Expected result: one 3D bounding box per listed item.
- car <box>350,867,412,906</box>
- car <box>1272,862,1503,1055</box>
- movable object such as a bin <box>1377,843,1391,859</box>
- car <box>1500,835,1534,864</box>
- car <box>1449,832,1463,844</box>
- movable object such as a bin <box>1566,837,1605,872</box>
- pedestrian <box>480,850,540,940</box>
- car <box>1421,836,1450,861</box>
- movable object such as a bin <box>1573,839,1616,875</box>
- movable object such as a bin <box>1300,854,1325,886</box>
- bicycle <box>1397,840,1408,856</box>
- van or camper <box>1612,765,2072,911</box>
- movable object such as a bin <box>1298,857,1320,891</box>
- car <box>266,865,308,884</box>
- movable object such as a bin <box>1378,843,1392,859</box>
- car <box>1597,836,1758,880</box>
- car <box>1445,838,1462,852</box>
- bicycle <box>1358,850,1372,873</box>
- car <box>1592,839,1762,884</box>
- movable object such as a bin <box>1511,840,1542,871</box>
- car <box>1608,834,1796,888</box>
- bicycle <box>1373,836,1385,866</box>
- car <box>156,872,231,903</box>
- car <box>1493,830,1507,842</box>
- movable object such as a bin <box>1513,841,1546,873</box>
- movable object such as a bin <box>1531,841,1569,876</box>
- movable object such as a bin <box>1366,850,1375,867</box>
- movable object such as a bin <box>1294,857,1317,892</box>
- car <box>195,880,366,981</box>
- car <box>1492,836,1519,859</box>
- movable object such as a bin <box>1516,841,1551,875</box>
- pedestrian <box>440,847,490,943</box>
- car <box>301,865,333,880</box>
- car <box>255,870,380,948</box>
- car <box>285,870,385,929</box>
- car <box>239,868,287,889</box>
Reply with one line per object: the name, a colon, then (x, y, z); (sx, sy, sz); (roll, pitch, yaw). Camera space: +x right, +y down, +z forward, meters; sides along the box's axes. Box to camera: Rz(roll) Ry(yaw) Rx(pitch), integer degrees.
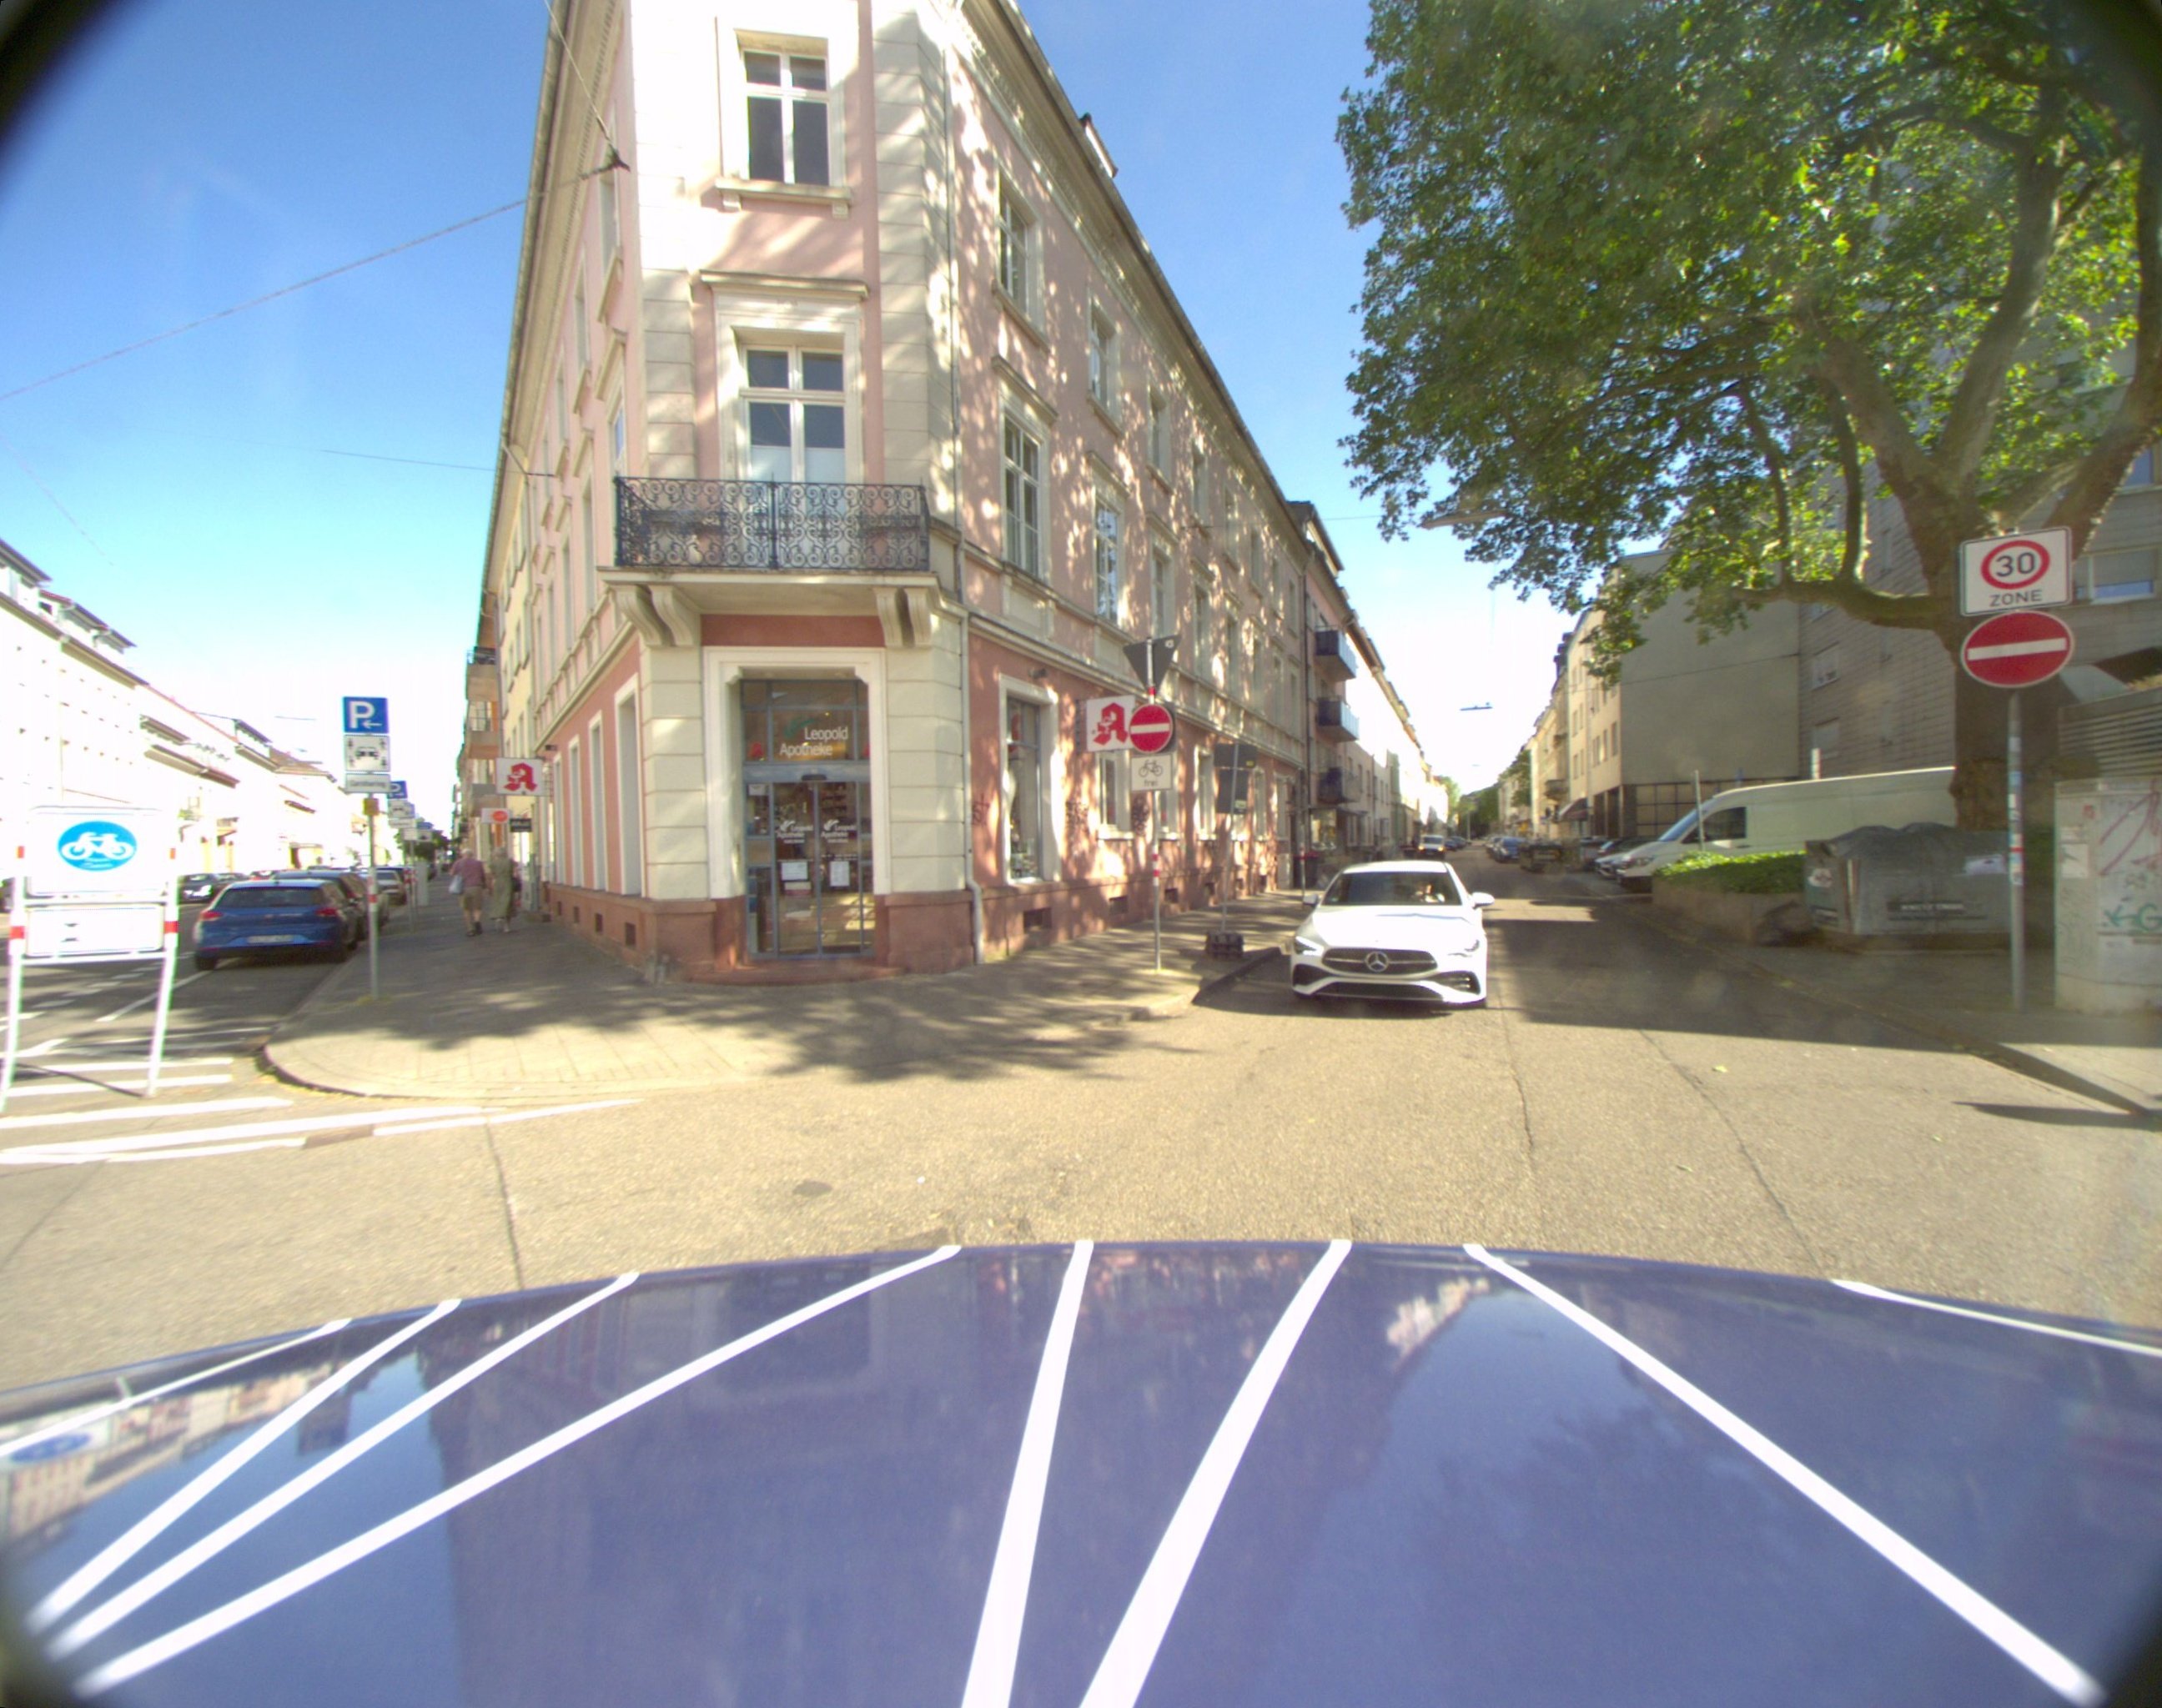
car: (-28.710, 1.305, 31.255); (1.711, 1.425, 3.628); (1, 0, -40)
car: (3.751, 0.932, 8.776); (1.859, 1.448, 4.570); (-2, 0, 28)
movable object such as a bin: (18.920, -0.189, 47.486); (0.715, 0.997, 0.547); (2, 3, 26)
car: (27.634, -0.290, 48.238); (1.762, 1.698, 4.335); (-1, 1, 29)
car: (57.066, -2.400, 115.540); (1.762, 1.698, 4.335); (-1, 1, 28)
movable object such as a bin: (22.342, 0.011, 33.686); (1.219, 1.492, 1.520); (-1, 1, 26)
pedestrian: (-11.667, 0.812, 15.562); (0.832, 1.754, 0.750); (-2, 1, -29)
car: (27.525, -0.442, 58.880); (1.762, 1.843, 4.335); (-1, 1, 29)
movable object such as a bin: (21.813, 0.118, 32.318); (1.326, 1.492, 1.197); (-1, 1, 26)
movable object such as a bin: (8.157, 0.554, 26.733); (0.716, 1.078, 0.619); (2, 3, 26)
bicycle: (23.020, -0.418, 54.424); (0.489, 1.090, 1.936); (-1, 1, 28)
van or camper: (16.360, -0.205, 17.109); (6.912, 2.559, 2.003); (-5, -1, 28)
movable object such as a bin: (7.453, 0.637, 24.815); (0.569, 1.053, 0.613); (2, 3, 26)
car: (-59.122, 1.498, 56.605); (1.710, 1.292, 3.629); (-2, 1, -40)
movable object such as a bin: (19.200, -0.186, 48.009); (0.715, 0.997, 0.547); (2, 3, 26)
car: (22.147, 0.154, 28.422); (4.408, 1.524, 1.701); (-1, 1, 22)
car: (45.626, -1.119, 92.956); (1.762, 1.698, 4.335); (-1, 1, 28)
bicycle: (14.609, 0.365, 39.037); (0.402, 1.144, 2.028); (-1, 1, 28)
car: (20.707, 0.253, 26.630); (4.408, 1.454, 1.602); (-1, 1, 22)
movable object such as a bin: (22.476, 0.049, 38.334); (1.219, 1.492, 1.562); (-1, 1, 26)
car: (20.024, 0.234, 24.739); (4.408, 1.607, 1.701); (-1, 1, 22)
bicycle: (18.050, -0.198, 45.971); (0.402, 1.726, 2.110); (-1, 1, 28)
car: (-42.229, 1.558, 36.234); (1.710, 1.292, 3.629); (-2, 1, -40)
car: (65.677, -2.838, 119.084); (1.762, 1.698, 4.335); (-1, 1, 28)
movable object such as a bin: (21.773, 0.143, 36.911); (1.219, 1.492, 1.562); (-1, 1, 26)
movable object such as a bin: (20.711, 0.187, 33.583); (1.239, 1.492, 1.880); (-1, 1, 26)
movable object such as a bin: (15.699, 0.238, 41.249); (0.415, 0.935, 0.302); (2, 3, 26)
movable object such as a bin: (7.176, 0.645, 24.240); (0.569, 1.078, 0.655); (2, 3, 26)
car: (-14.264, 1.252, 13.748); (1.711, 1.425, 3.628); (1, 0, -40)
car: (32.657, -0.508, 58.523); (1.762, 1.698, 4.335); (-1, 1, 29)
movable object such as a bin: (21.000, 0.168, 35.301); (1.244, 1.492, 1.928); (-1, 1, 26)
pedestrian: (-12.389, 0.793, 15.298); (0.572, 1.847, 0.705); (-5, 4, -33)
car: (-69.775, 1.689, 69.458); (1.710, 1.292, 3.629); (-2, 1, -40)
car: (-17.565, 1.172, 17.638); (1.711, 1.528, 3.628); (1, 0, -40)
car: (-20.941, 1.217, 21.450); (1.711, 1.425, 3.628); (1, 0, -40)
car: (-54.417, 1.595, 50.609); (1.710, 1.292, 3.629); (-2, 1, -40)
